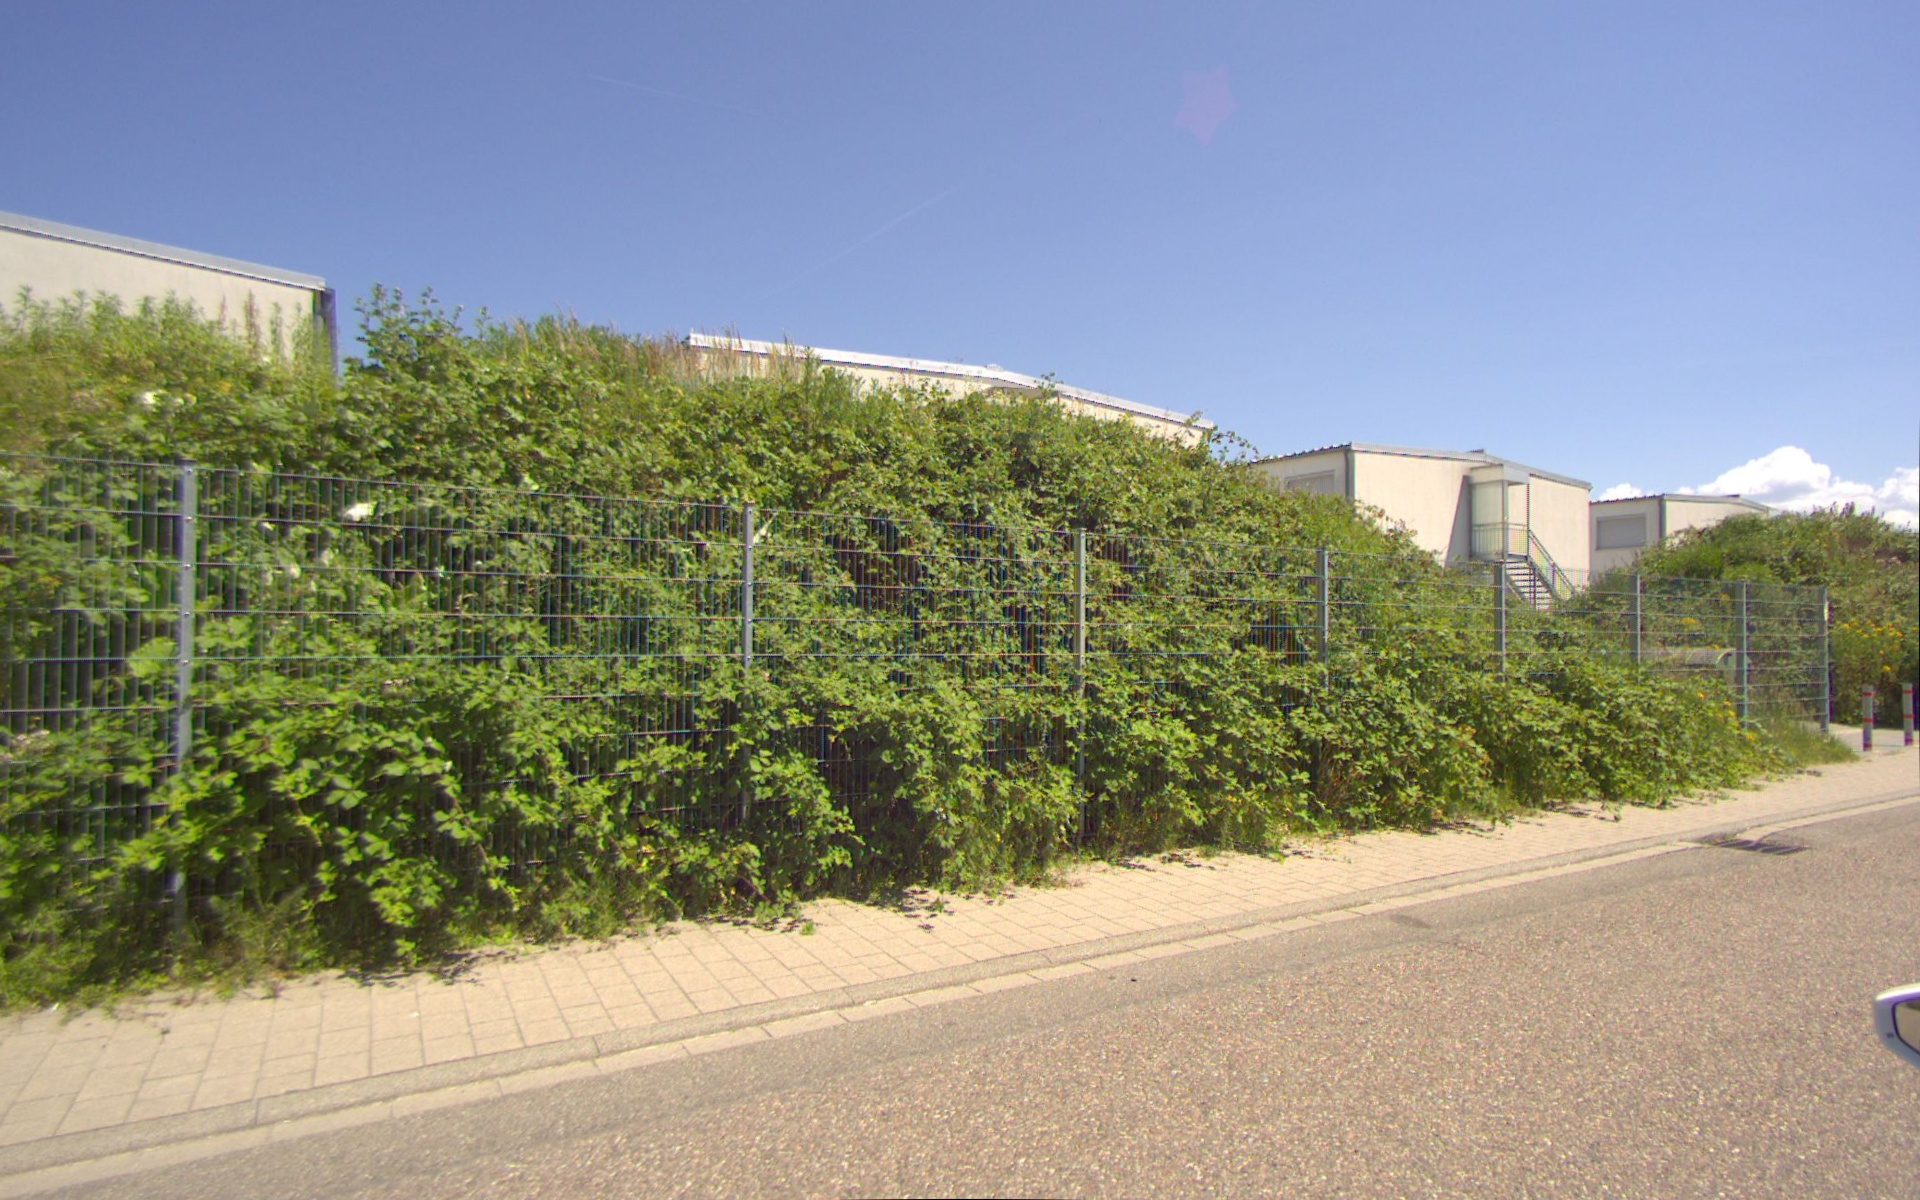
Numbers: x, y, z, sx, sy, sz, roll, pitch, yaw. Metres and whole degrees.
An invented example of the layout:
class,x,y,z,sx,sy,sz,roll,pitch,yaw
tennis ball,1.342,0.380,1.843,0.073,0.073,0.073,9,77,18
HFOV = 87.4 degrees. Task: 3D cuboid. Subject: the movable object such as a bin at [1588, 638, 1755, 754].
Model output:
class,x,y,z,sx,sy,sz,roll,pitch,yaw
movable object such as a bin,9.977,1.293,14.095,1.817,1.496,1.297,2,-2,-30
